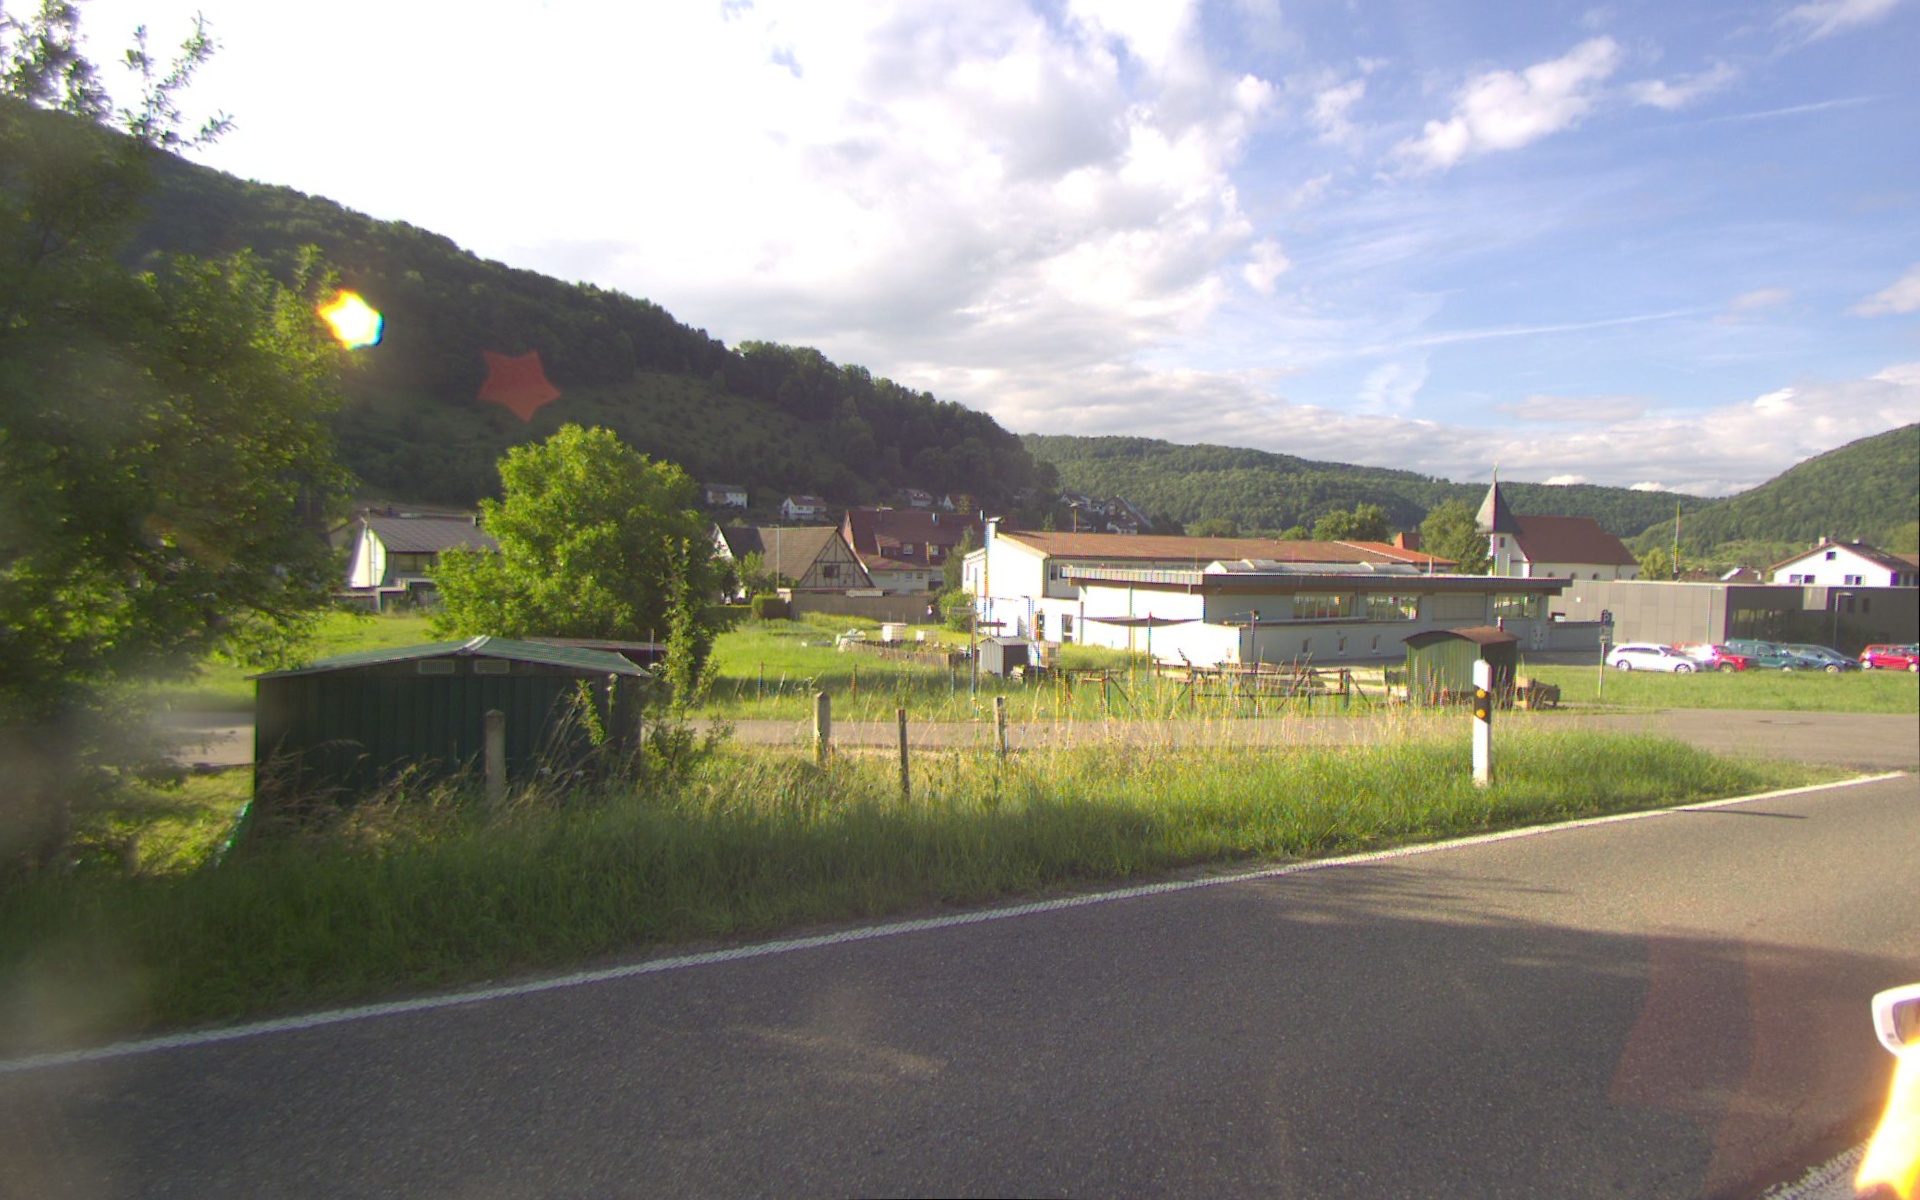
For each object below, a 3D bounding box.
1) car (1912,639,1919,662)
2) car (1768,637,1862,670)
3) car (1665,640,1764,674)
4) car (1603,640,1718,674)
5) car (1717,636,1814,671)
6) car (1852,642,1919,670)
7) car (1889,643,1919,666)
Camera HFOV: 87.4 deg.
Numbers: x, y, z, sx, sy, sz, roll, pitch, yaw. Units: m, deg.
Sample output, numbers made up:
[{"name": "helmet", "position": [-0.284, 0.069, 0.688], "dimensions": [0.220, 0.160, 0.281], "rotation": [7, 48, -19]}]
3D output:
[{"name": "car", "position": [65.223, 3.350, 65.936], "dimensions": [1.575, 1.513, 3.656], "rotation": [1, -1, -24]}, {"name": "car", "position": [49.061, 3.052, 57.703], "dimensions": [1.709, 1.744, 3.806], "rotation": [1, -1, -25]}, {"name": "car", "position": [39.979, 2.999, 53.310], "dimensions": [1.732, 1.600, 3.907], "rotation": [1, -1, -25]}, {"name": "car", "position": [36.826, 2.973, 52.903], "dimensions": [1.973, 1.610, 4.626], "rotation": [1, -1, -25]}, {"name": "car", "position": [44.743, 2.961, 55.875], "dimensions": [1.734, 1.745, 3.846], "rotation": [1, 0, -27]}, {"name": "car", "position": [57.941, 3.470, 62.257], "dimensions": [1.626, 1.463, 3.614], "rotation": [0, 1, -24]}, {"name": "car", "position": [62.403, 3.545, 64.571], "dimensions": [1.575, 1.423, 3.614], "rotation": [4, -2, -24]}]
